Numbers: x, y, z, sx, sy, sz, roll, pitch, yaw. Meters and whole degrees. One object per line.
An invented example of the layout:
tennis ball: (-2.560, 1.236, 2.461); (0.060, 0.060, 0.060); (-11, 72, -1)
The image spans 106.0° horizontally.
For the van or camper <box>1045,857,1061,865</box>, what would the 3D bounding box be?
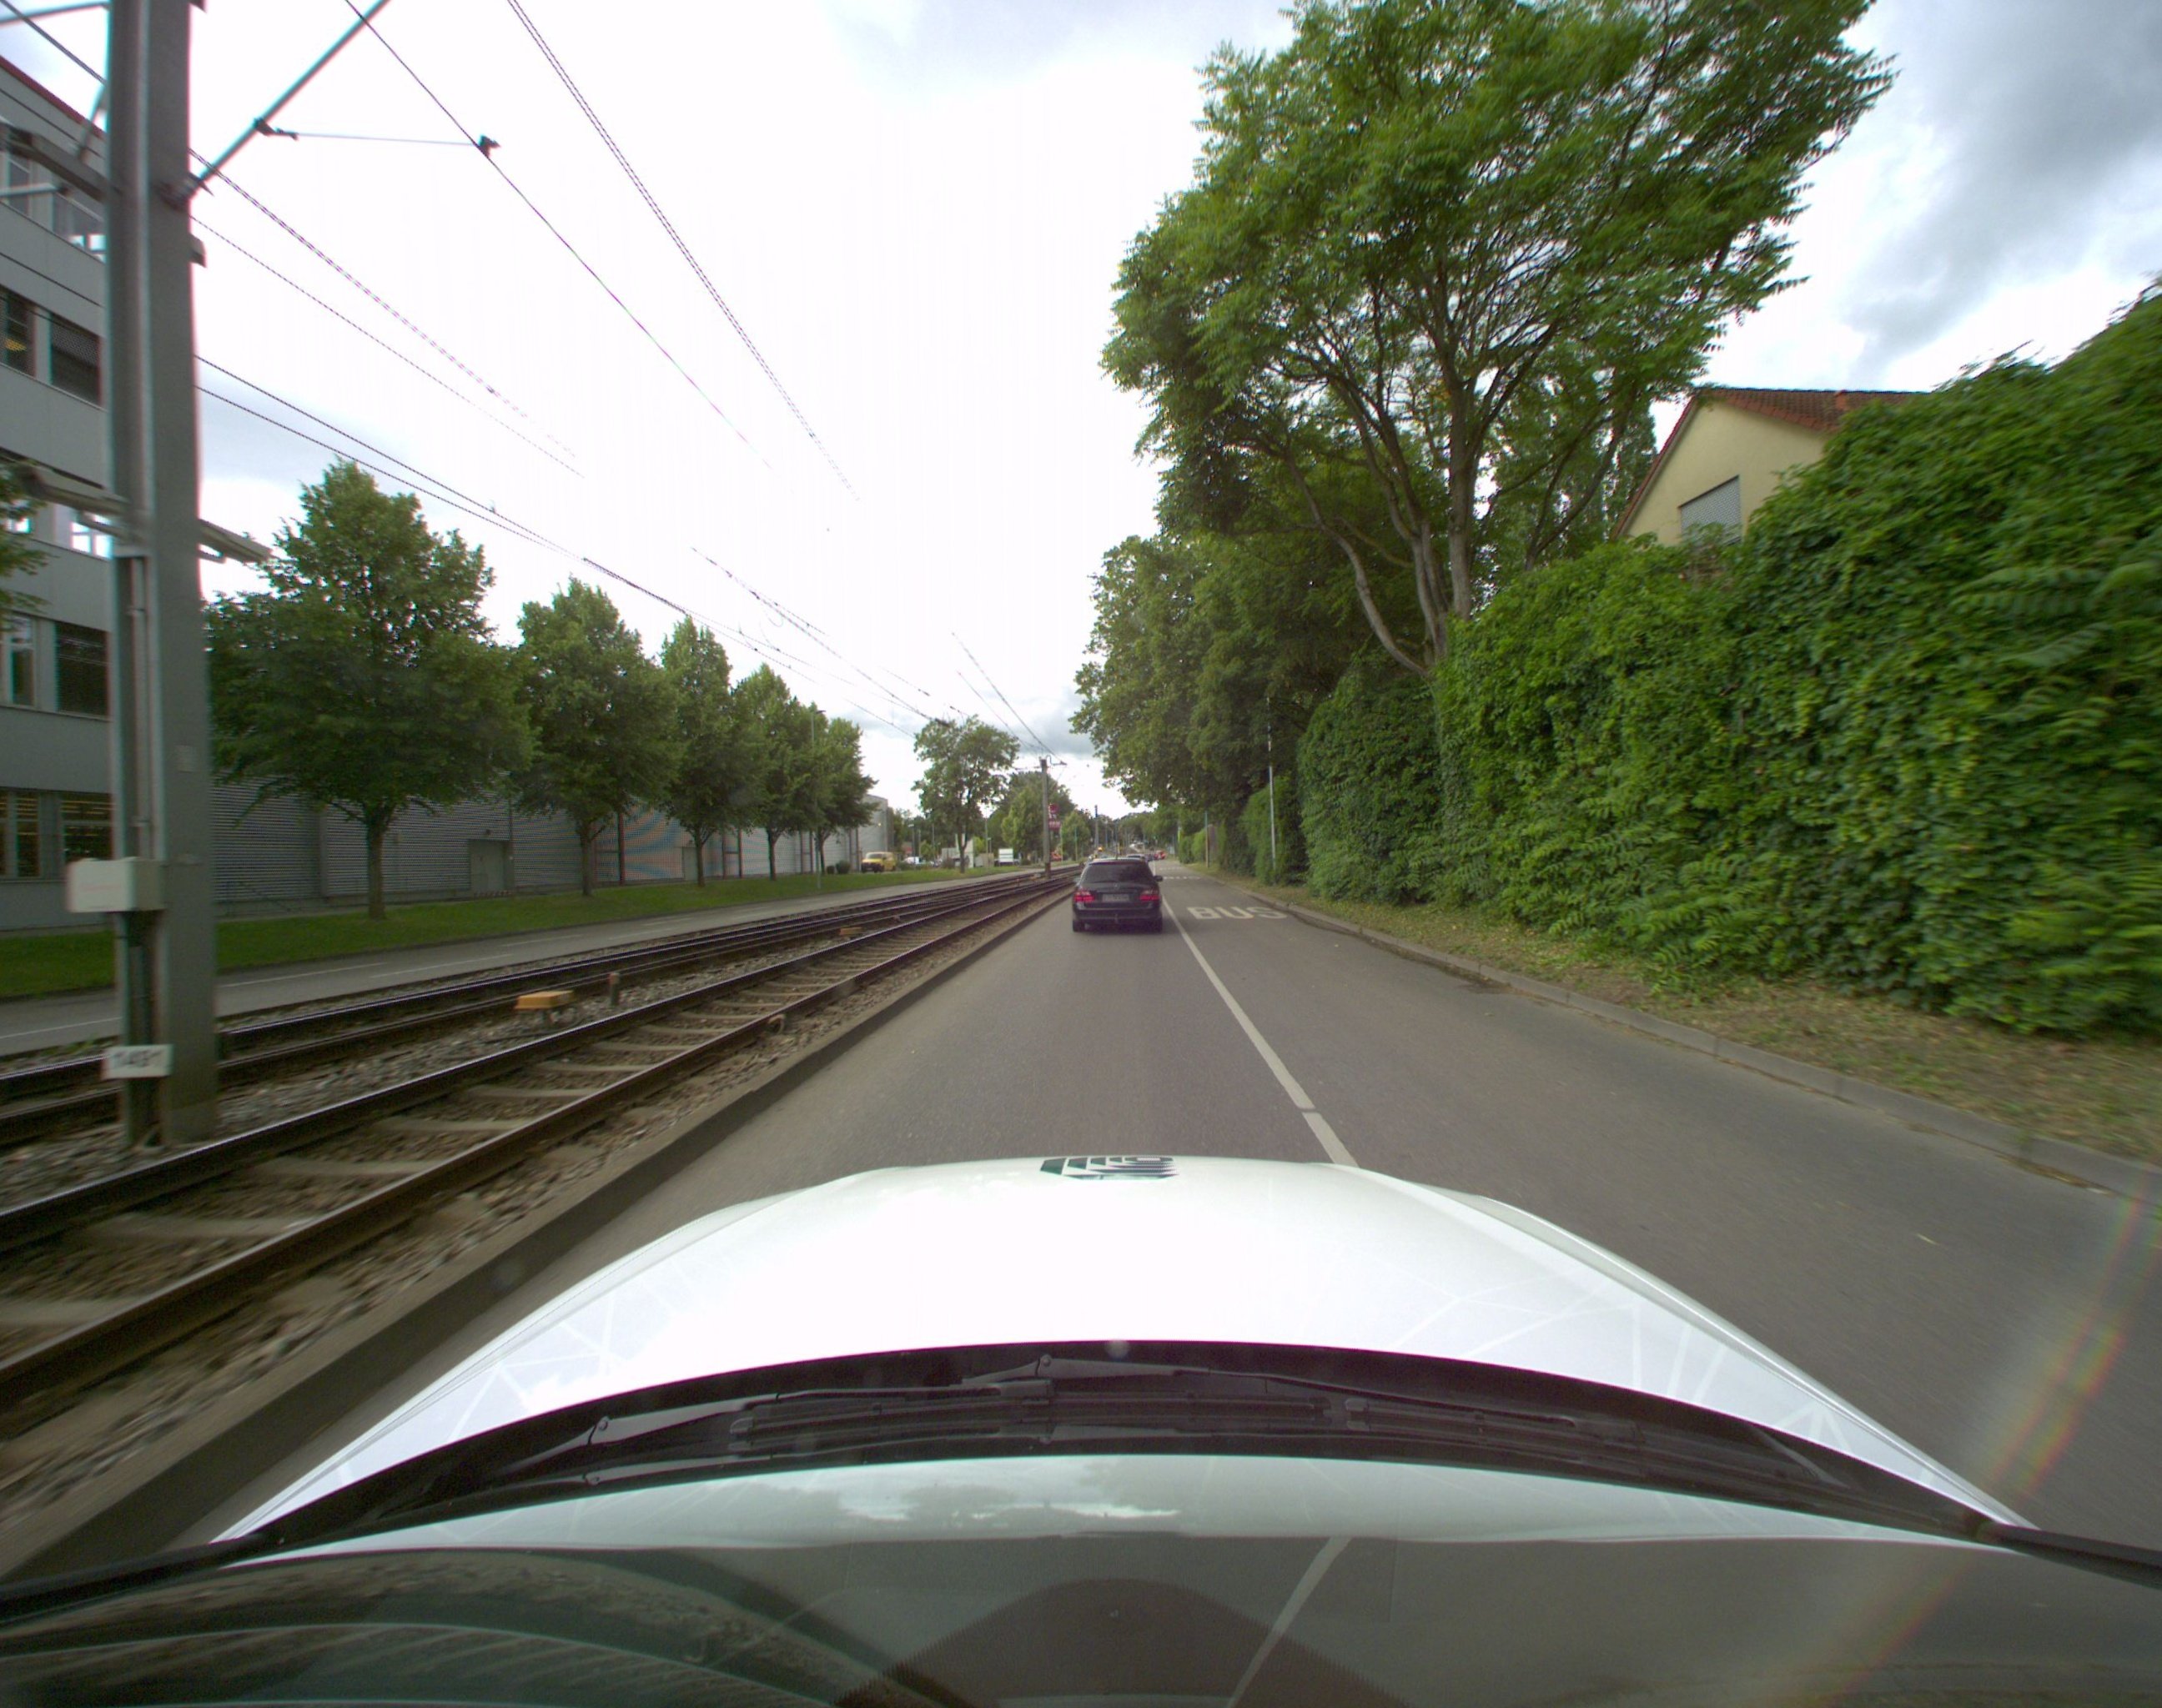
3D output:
van or camper: (-7.056, 1.741, 205.837); (3.974, 2.135, 1.878); (-1, 0, 0)

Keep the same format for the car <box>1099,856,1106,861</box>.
car: (6.772, 1.306, 252.607); (1.751, 1.401, 4.448); (-5, 0, 4)

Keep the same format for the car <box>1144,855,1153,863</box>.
car: (12.692, 0.944, 153.031); (1.563, 1.414, 3.359); (0, -1, 5)

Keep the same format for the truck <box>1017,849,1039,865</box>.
truck: (-10.154, 0.602, 156.856); (3.971, 2.821, 2.377); (-2, 0, 2)

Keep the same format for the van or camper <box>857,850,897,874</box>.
van or camper: (-18.612, 0.731, 74.496); (2.095, 2.013, 5.245); (-2, 0, 2)

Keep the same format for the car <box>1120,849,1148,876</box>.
car: (3.610, 0.574, 55.166); (1.772, 1.750, 3.723); (0, -1, 5)

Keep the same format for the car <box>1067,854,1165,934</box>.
car: (0.817, 0.749, 17.105); (1.800, 1.474, 3.886); (-1, 0, 5)
